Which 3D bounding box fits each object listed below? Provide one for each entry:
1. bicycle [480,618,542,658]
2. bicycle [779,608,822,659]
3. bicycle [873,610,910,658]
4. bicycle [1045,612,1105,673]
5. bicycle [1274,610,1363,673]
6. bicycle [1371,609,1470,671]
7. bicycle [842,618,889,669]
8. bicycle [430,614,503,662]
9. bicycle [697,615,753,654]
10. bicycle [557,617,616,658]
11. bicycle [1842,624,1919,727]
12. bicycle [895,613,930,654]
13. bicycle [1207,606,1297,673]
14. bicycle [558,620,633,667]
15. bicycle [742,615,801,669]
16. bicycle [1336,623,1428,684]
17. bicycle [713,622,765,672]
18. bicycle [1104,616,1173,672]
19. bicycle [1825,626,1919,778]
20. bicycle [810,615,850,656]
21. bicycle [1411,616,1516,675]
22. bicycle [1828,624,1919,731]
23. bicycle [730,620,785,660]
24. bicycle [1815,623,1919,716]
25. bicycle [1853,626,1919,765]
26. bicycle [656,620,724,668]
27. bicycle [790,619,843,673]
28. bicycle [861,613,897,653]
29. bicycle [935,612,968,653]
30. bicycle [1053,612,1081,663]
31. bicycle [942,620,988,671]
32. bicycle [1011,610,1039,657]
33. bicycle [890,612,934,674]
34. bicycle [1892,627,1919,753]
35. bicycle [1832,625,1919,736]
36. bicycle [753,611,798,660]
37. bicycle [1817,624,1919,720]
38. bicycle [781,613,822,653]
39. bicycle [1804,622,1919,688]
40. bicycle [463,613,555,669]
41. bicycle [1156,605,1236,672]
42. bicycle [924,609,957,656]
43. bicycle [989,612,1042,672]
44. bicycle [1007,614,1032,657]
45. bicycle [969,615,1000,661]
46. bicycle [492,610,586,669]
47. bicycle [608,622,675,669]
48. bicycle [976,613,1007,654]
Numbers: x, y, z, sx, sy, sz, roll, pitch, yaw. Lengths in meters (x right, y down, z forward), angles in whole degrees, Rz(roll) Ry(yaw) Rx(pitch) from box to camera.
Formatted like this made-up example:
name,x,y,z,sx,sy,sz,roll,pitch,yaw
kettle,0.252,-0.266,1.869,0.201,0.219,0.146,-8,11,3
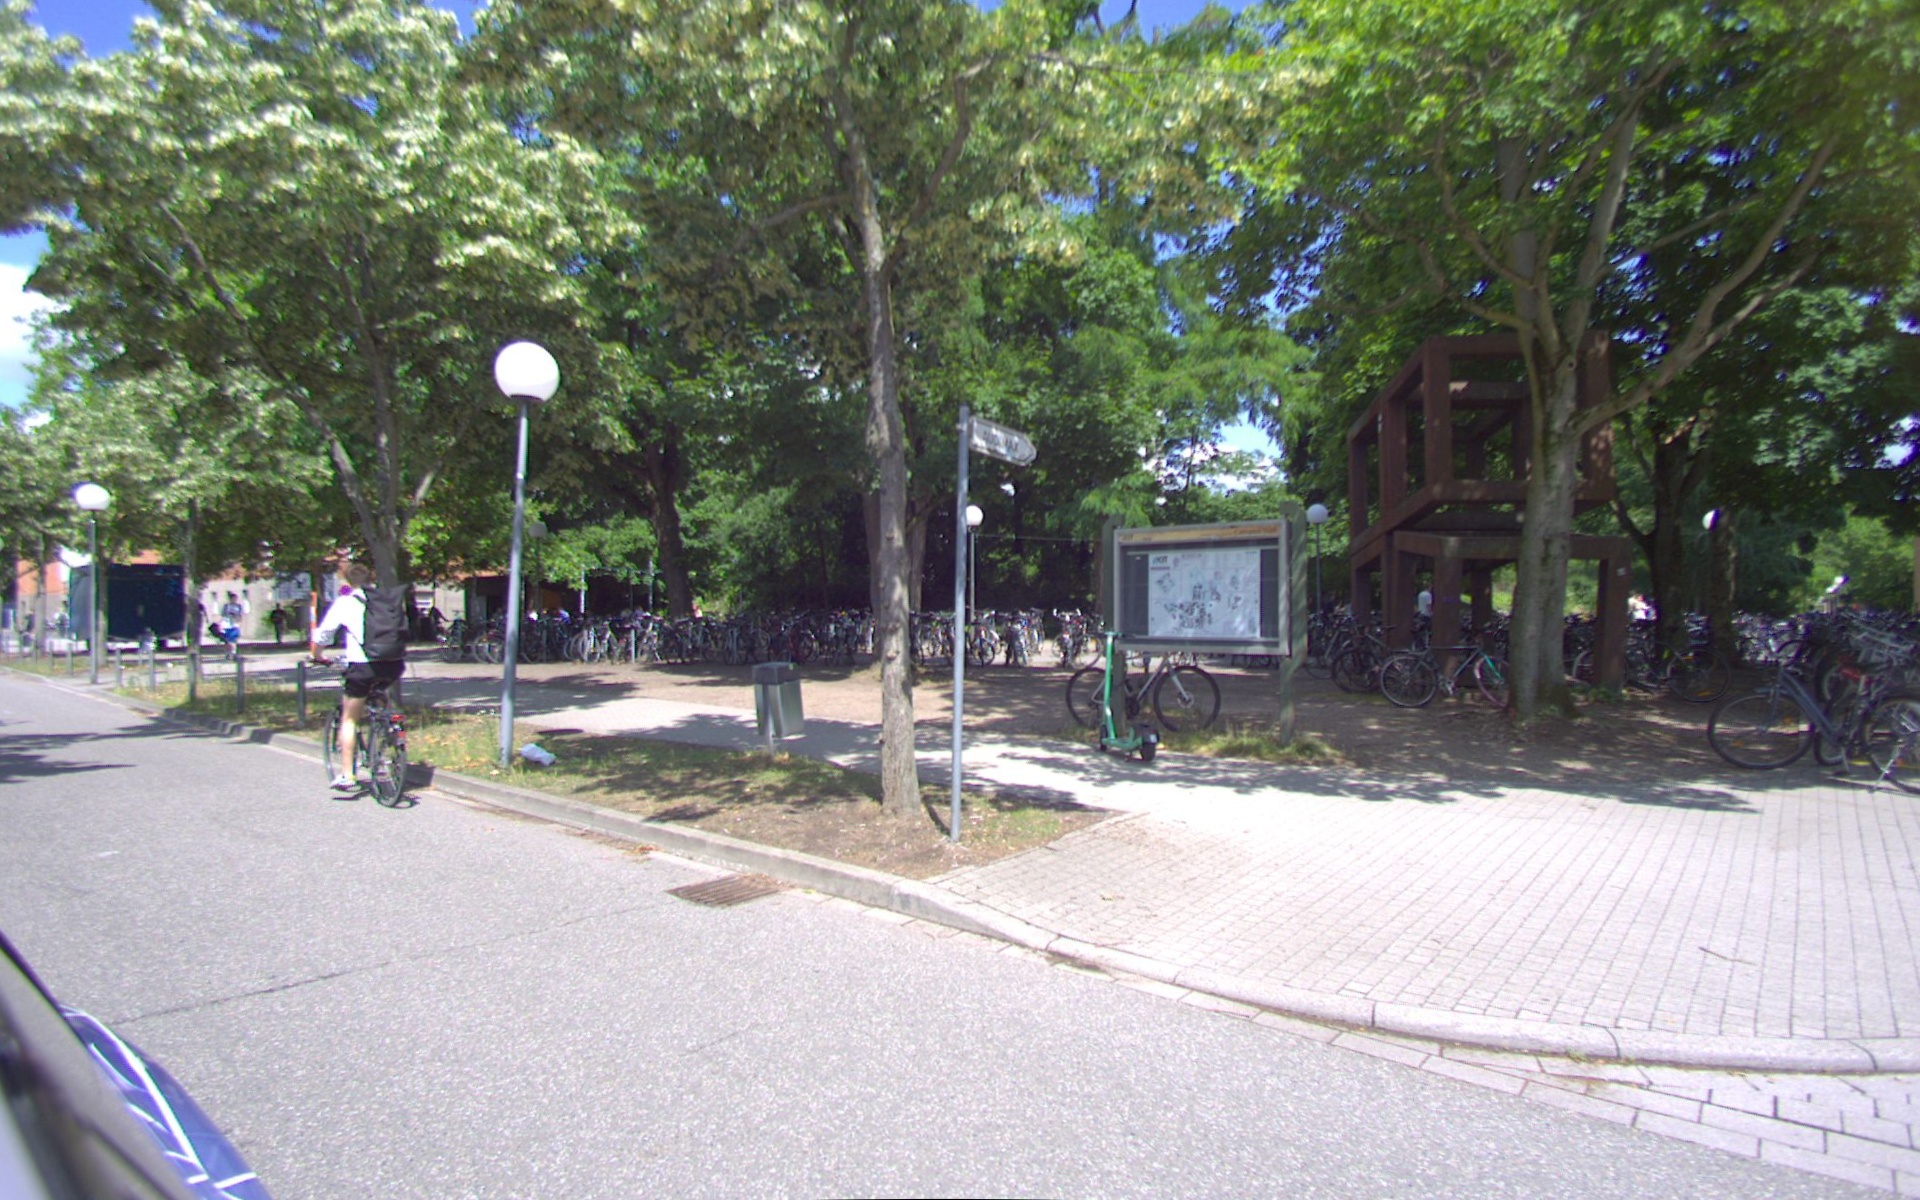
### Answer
name,x,y,z,sx,sy,sz,roll,pitch,yaw
bicycle,-13.118,1.085,29.628,0.543,1.097,1.849,-1,0,19
bicycle,-4.221,0.869,26.915,0.632,1.244,2.057,-2,0,5
bicycle,-1.757,0.850,26.157,0.632,1.167,2.057,-2,-1,5
bicycle,2.430,0.869,21.711,0.870,1.188,2.710,-1,0,-2
bicycle,7.585,0.840,21.591,0.732,1.134,2.962,-1,2,-2
bicycle,9.945,0.841,22.008,0.732,1.242,2.838,0,-1,-2
bicycle,-2.077,0.934,22.516,0.870,1.022,2.785,-1,0,-2
bicycle,-12.240,0.926,25.147,0.456,1.140,1.765,-1,0,22
bicycle,-6.927,1.006,29.917,0.544,1.097,1.952,-1,0,23
bicycle,-10.745,1.070,29.157,0.543,1.097,1.849,-1,0,19
bicycle,10.960,0.828,11.057,1.972,1.094,0.546,-1,0,41
bicycle,-1.346,0.948,28.857,0.541,1.097,1.960,-1,0,11
bicycle,6.128,0.790,21.468,0.870,1.306,3.084,-1,0,-2
bicycle,-8.579,1.014,23.929,0.670,1.016,2.147,-1,0,10
bicycle,-4.100,0.890,22.264,0.870,1.094,2.753,-1,0,-2
bicycle,8.995,1.109,21.716,0.732,1.076,2.765,-1,2,-2
bicycle,-4.952,1.020,22.808,0.668,1.016,2.652,-1,0,-2
bicycle,3.719,0.896,21.391,0.870,1.084,2.685,-1,0,-2
bicycle,7.604,0.751,7.363,1.972,1.094,0.546,-1,0,41
bicycle,-3.689,0.999,28.895,0.541,1.097,1.960,-1,0,11
bicycle,11.025,0.958,22.308,0.732,1.165,2.913,-1,0,-2
bicycle,10.448,0.816,10.646,1.972,1.094,0.546,-1,0,41
bicycle,-5.926,1.155,29.716,0.544,1.097,1.952,-1,0,23
bicycle,11.767,0.846,12.380,1.972,1.094,0.546,-1,0,41
bicycle,8.358,0.769,7.956,1.972,1.094,0.546,-1,0,41
bicycle,-6.193,0.990,23.323,0.670,1.016,2.147,-1,0,10
bicycle,-3.143,0.979,22.385,0.870,1.058,2.835,-1,0,-2
bicycle,-2.338,0.939,29.457,0.541,1.097,1.960,-1,0,11
bicycle,-0.221,0.917,28.708,0.541,1.097,1.960,-1,0,11
bicycle,2.731,0.926,25.897,0.632,1.141,2.058,-2,2,5
bicycle,0.086,0.958,22.133,0.870,1.010,2.735,-1,0,-2
bicycle,1.692,0.841,26.073,0.632,1.141,2.057,-2,-1,5
bicycle,-1.035,0.893,22.120,0.870,1.229,2.910,-1,0,-2
bicycle,9.293,0.790,8.605,1.972,1.094,0.546,-1,0,41
bicycle,10.081,0.808,10.167,1.972,1.094,0.546,-1,0,41
bicycle,-4.896,0.917,27.021,0.632,1.244,2.057,-2,0,5
bicycle,11.329,0.836,11.841,1.972,1.094,0.546,-1,0,41
bicycle,-4.629,0.952,29.658,0.541,1.097,1.960,-1,0,11
bicycle,16.072,0.945,17.718,1.972,1.094,0.546,-1,0,41
bicycle,-10.829,0.969,24.381,0.803,1.244,2.045,-1,0,23
bicycle,4.928,0.772,21.371,0.870,1.296,2.935,-1,0,-2
bicycle,-0.488,0.810,26.247,0.632,1.141,2.057,-2,0,5
bicycle,1.176,0.873,22.064,0.870,1.187,2.885,-1,0,-2
bicycle,1.695,0.973,28.662,0.632,1.141,2.057,-2,0,5
bicycle,0.654,0.960,26.143,0.632,1.141,2.057,-2,-1,5
bicycle,-9.851,0.905,23.778,0.803,1.244,2.045,-1,1,23
bicycle,-7.283,1.024,23.239,0.670,1.016,1.885,-1,0,10
bicycle,0.903,0.933,28.754,0.541,1.097,1.960,-1,0,11
